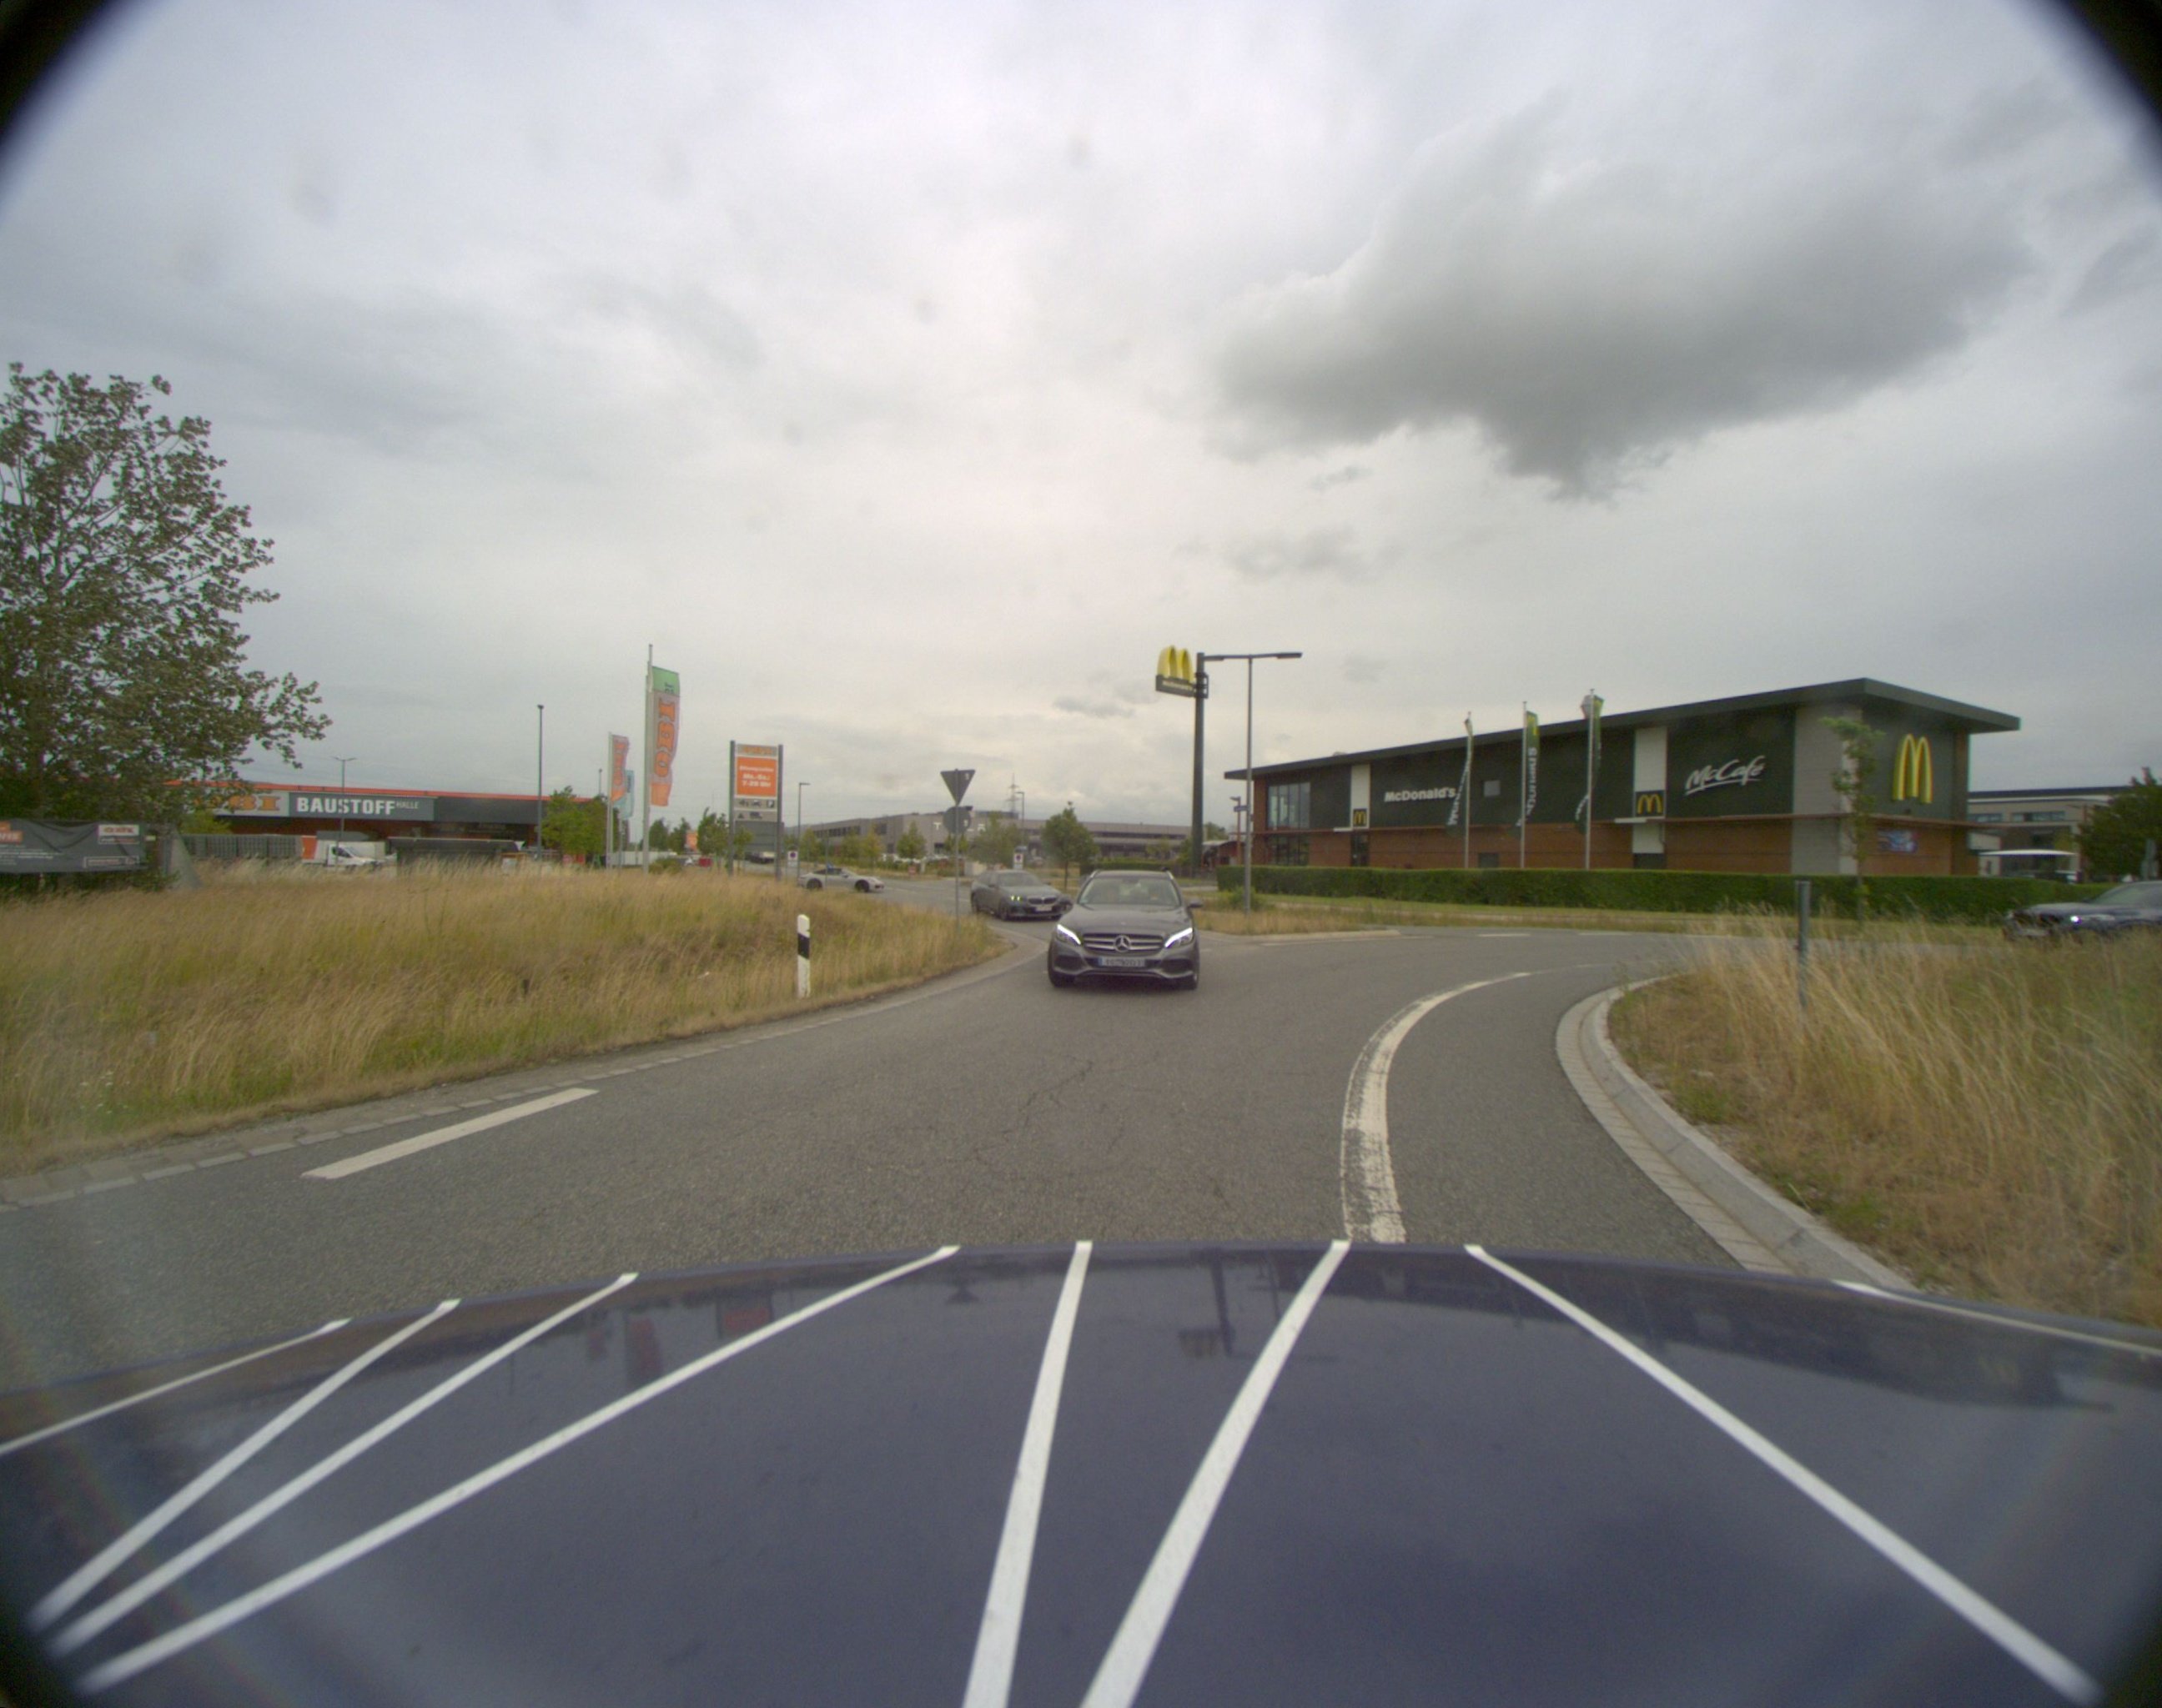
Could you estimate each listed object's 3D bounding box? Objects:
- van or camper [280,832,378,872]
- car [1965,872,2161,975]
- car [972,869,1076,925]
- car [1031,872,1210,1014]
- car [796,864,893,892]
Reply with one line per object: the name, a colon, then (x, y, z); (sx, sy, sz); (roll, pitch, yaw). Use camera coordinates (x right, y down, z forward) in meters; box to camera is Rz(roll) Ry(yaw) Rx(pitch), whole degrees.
van or camper: (-56.765, -0.178, 57.491); (4.770, 2.775, 1.995); (-3, 1, -31)
car: (20.867, 1.342, 15.603); (4.001, 1.710, 1.841); (-2, 2, -12)
car: (-1.943, 1.303, 24.556); (2.001, 1.496, 4.298); (-1, 0, -24)
car: (0.785, 1.037, 10.706); (1.904, 1.488, 4.343); (1, 0, 11)
car: (-12.716, 1.300, 41.077); (4.734, 1.390, 1.827); (0, 1, -7)
